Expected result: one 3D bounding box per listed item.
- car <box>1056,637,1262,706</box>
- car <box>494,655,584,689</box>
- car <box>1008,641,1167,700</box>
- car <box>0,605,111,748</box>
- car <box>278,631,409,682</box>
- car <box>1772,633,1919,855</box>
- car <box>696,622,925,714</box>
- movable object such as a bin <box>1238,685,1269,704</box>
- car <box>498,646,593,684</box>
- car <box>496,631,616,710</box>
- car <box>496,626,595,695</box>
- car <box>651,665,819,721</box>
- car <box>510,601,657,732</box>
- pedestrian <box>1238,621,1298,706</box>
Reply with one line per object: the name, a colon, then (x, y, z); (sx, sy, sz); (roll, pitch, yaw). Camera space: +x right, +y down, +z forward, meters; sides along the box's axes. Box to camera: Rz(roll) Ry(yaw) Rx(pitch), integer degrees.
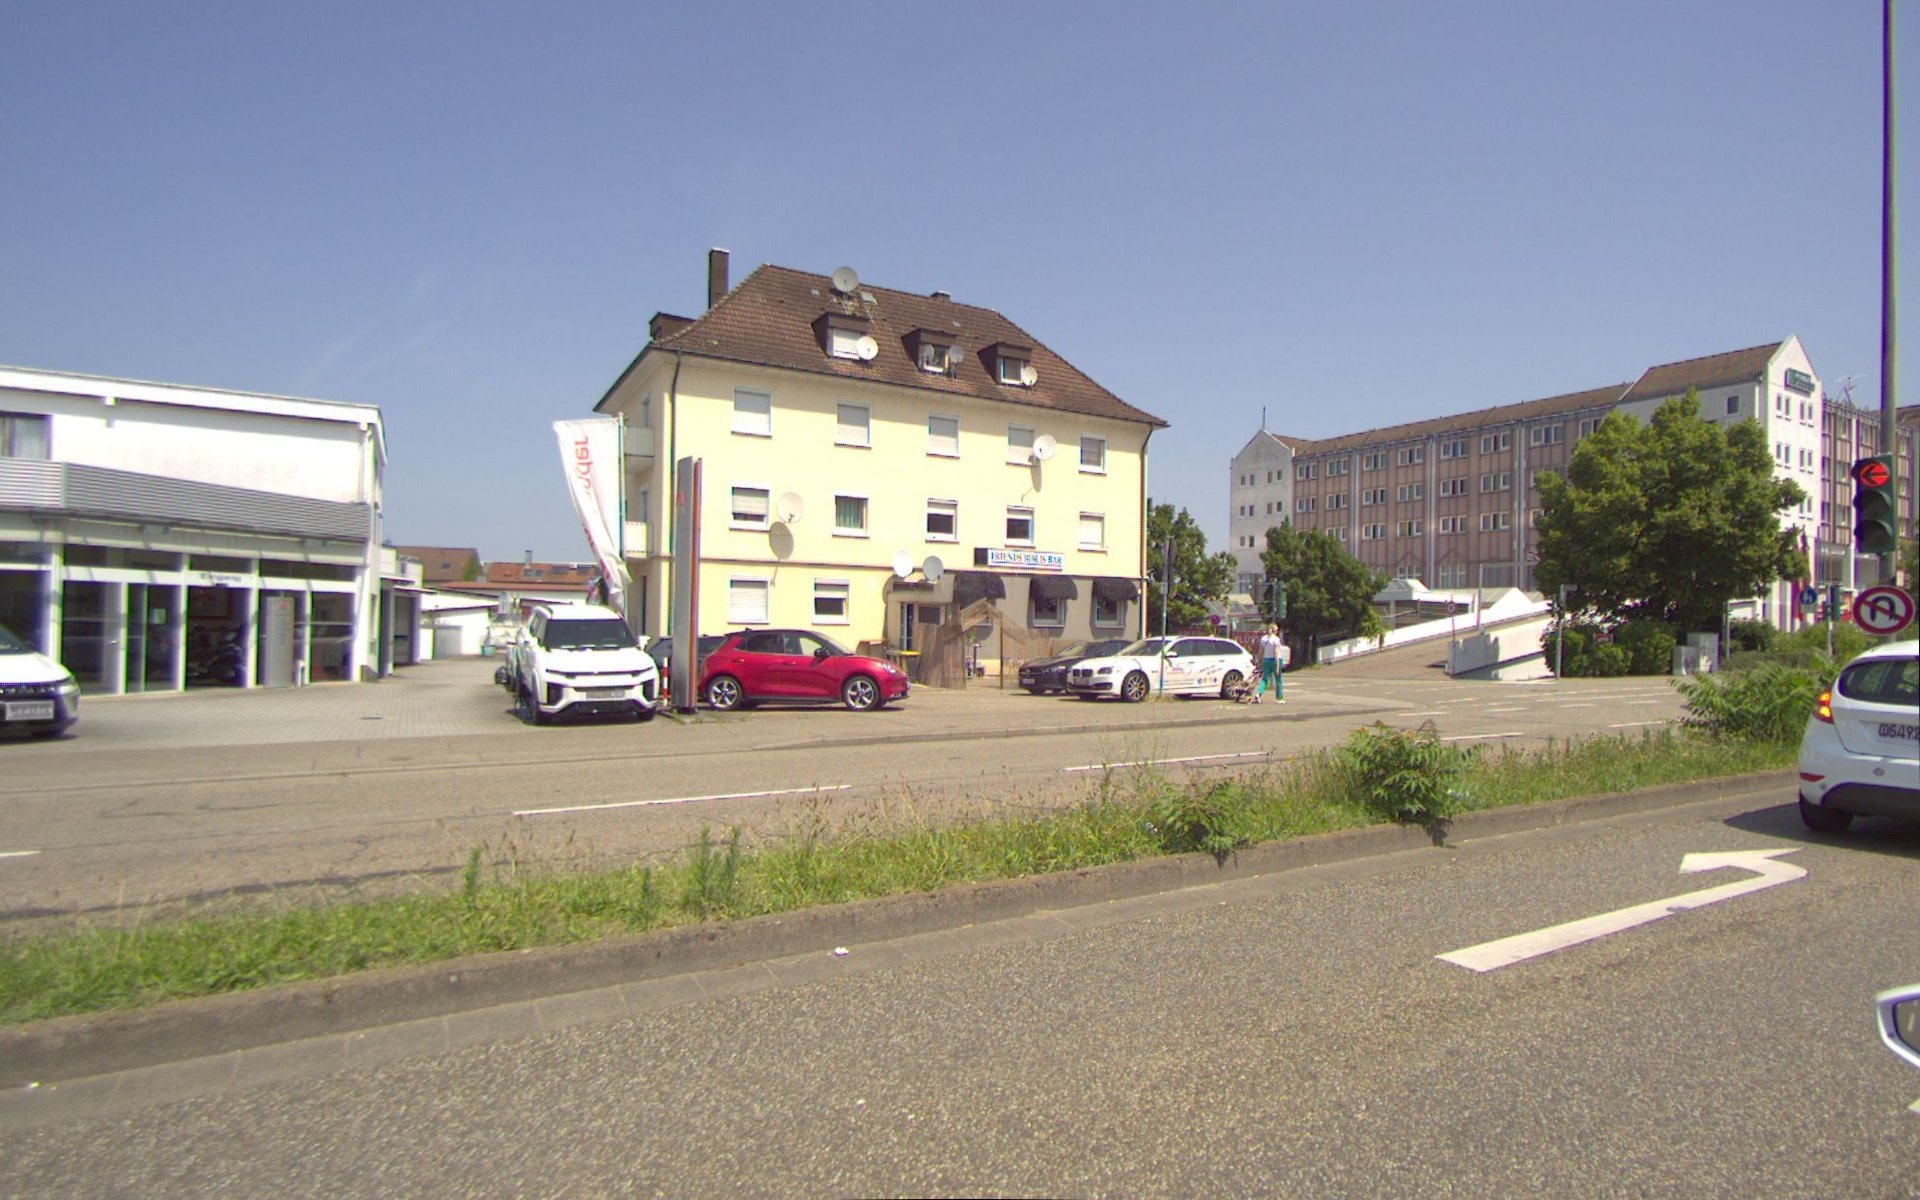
car: (4.642, 1.593, 23.165); (4.703, 1.429, 1.767); (1, -2, -30)
car: (-16.025, 2.715, 38.242); (2.971, 1.159, 1.528); (2, -2, -33)
car: (3.323, 1.766, 25.922); (3.958, 1.369, 1.722); (1, -2, -34)
car: (-13.589, 0.885, 13.223); (3.920, 1.645, 1.761); (4, 0, 17)
car: (-17.533, 1.585, 28.705); (3.097, 1.381, 1.316); (1, -2, -30)
car: (7.903, 0.988, 7.525); (3.668, 1.453, 1.680); (1, -1, -31)
car: (-2.827, 1.283, 19.629); (4.094, 1.664, 1.841); (0, -1, 4)
movable object such as a bin: (6.301, 2.025, 21.596); (0.500, 0.377, 0.414); (1, -2, -29)
car: (-14.702, 2.276, 35.828); (1.510, 1.231, 3.496); (0, -2, 9)
car: (-8.891, 1.458, 21.937); (1.844, 1.550, 3.968); (1, -2, -30)
car: (-10.877, 1.506, 26.199); (1.844, 1.636, 3.968); (1, -2, -30)
car: (-5.522, 2.281, 25.002); (3.928, 1.268, 1.648); (1, -2, -10)
car: (-6.661, 1.020, 17.469); (1.738, 1.732, 4.525); (2, 2, -29)
pedestrian: (6.641, 1.351, 21.672); (1.021, 1.770, 0.737); (1, -1, -28)
